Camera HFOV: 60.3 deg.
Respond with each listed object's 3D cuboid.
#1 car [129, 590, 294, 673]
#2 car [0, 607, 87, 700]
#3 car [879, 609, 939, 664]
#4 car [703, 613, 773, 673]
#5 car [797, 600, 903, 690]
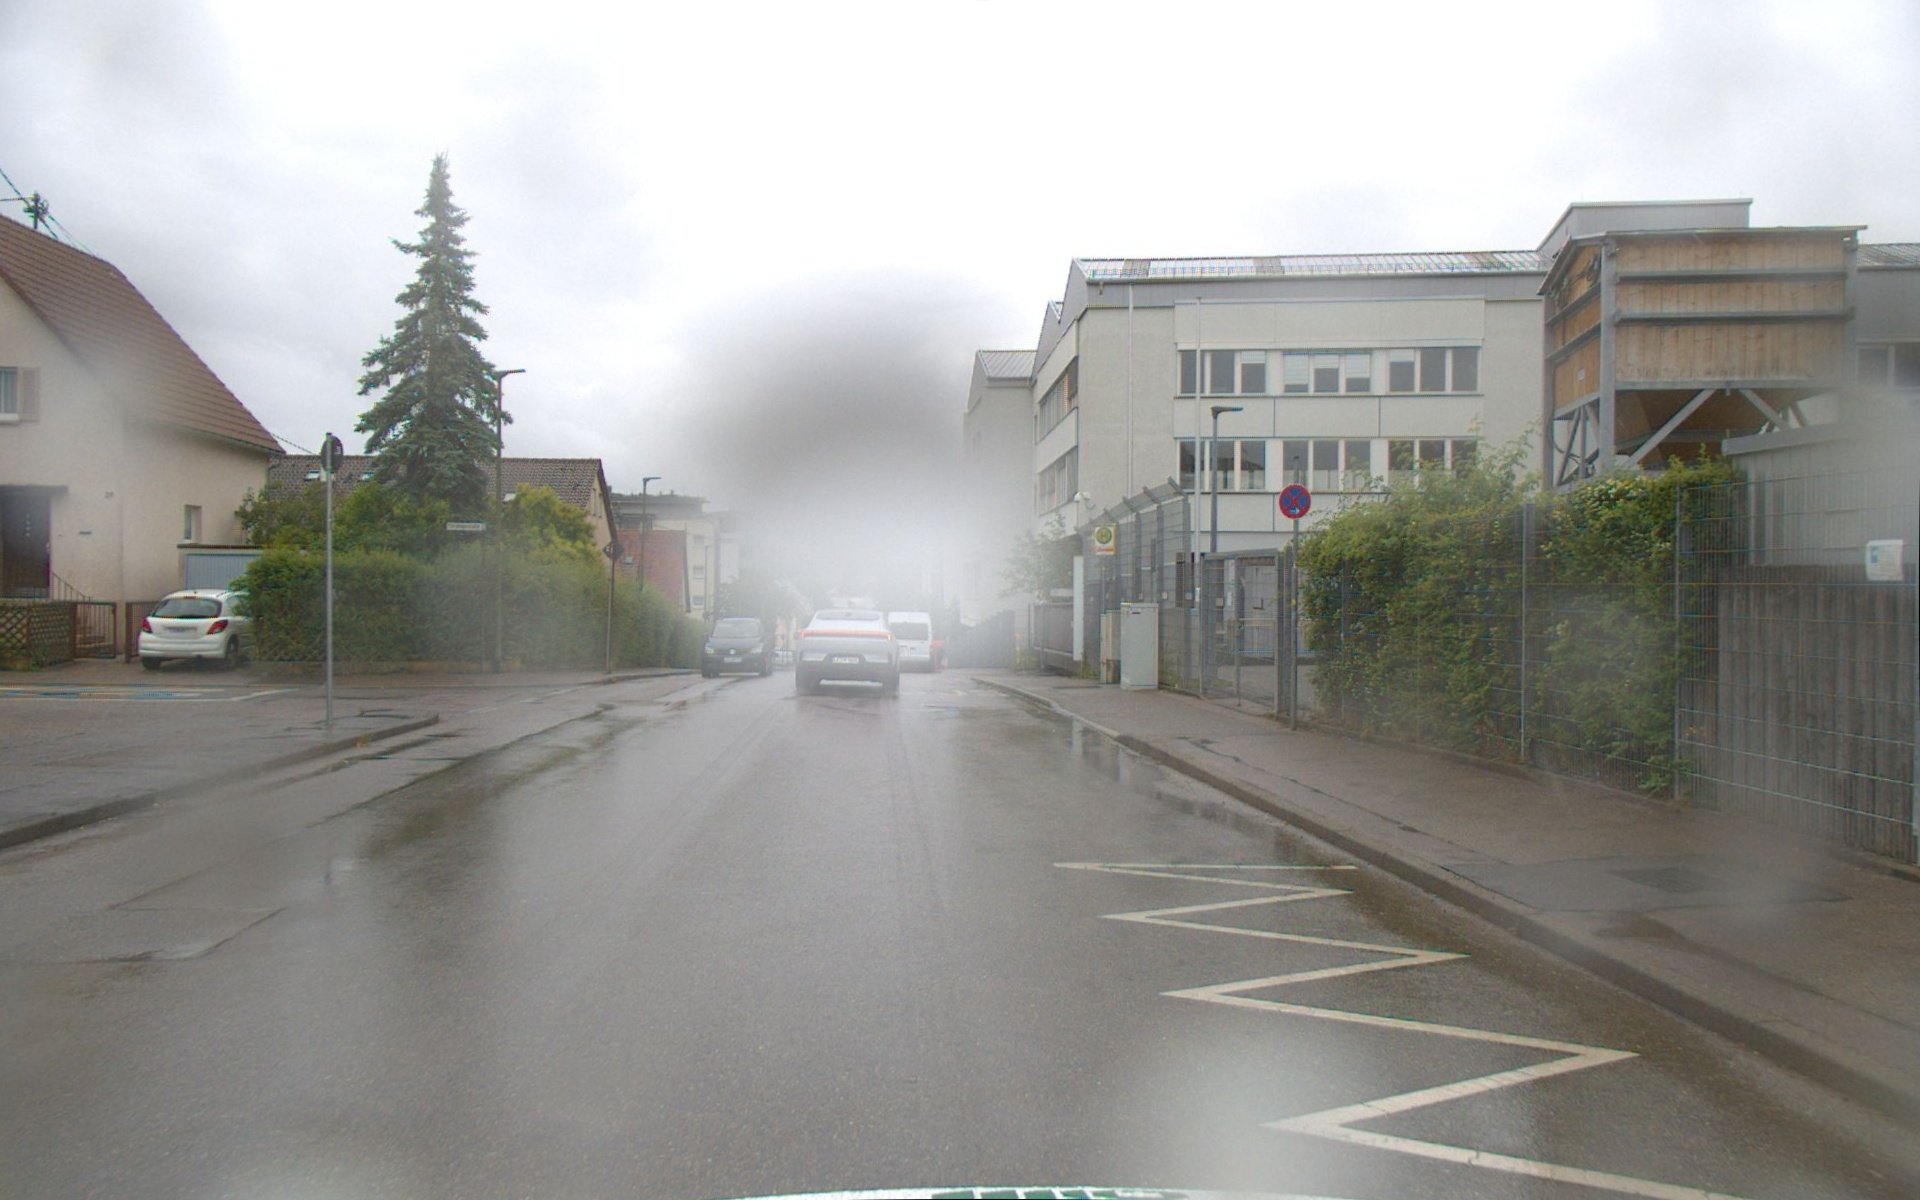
[{"bbox_3d":[-15.185,0.591,33.799,1.758,1.534,3.998,0,1,-4],"label":"car"},{"bbox_3d":[-18.373,1.016,31.044,1.822,1.688,4.539,0,-3,-5],"label":"car"},{"bbox_3d":[-2.003,1.437,64.347,1.956,2.049,3.993,-1,-2,-7],"label":"car"},{"bbox_3d":[-6.011,1.126,45.119,1.643,1.554,3.996,0,0,-4],"label":"car"},{"bbox_3d":[-2.181,0.840,33.058,1.954,1.528,4.667,0,2,-3],"label":"car"}]
